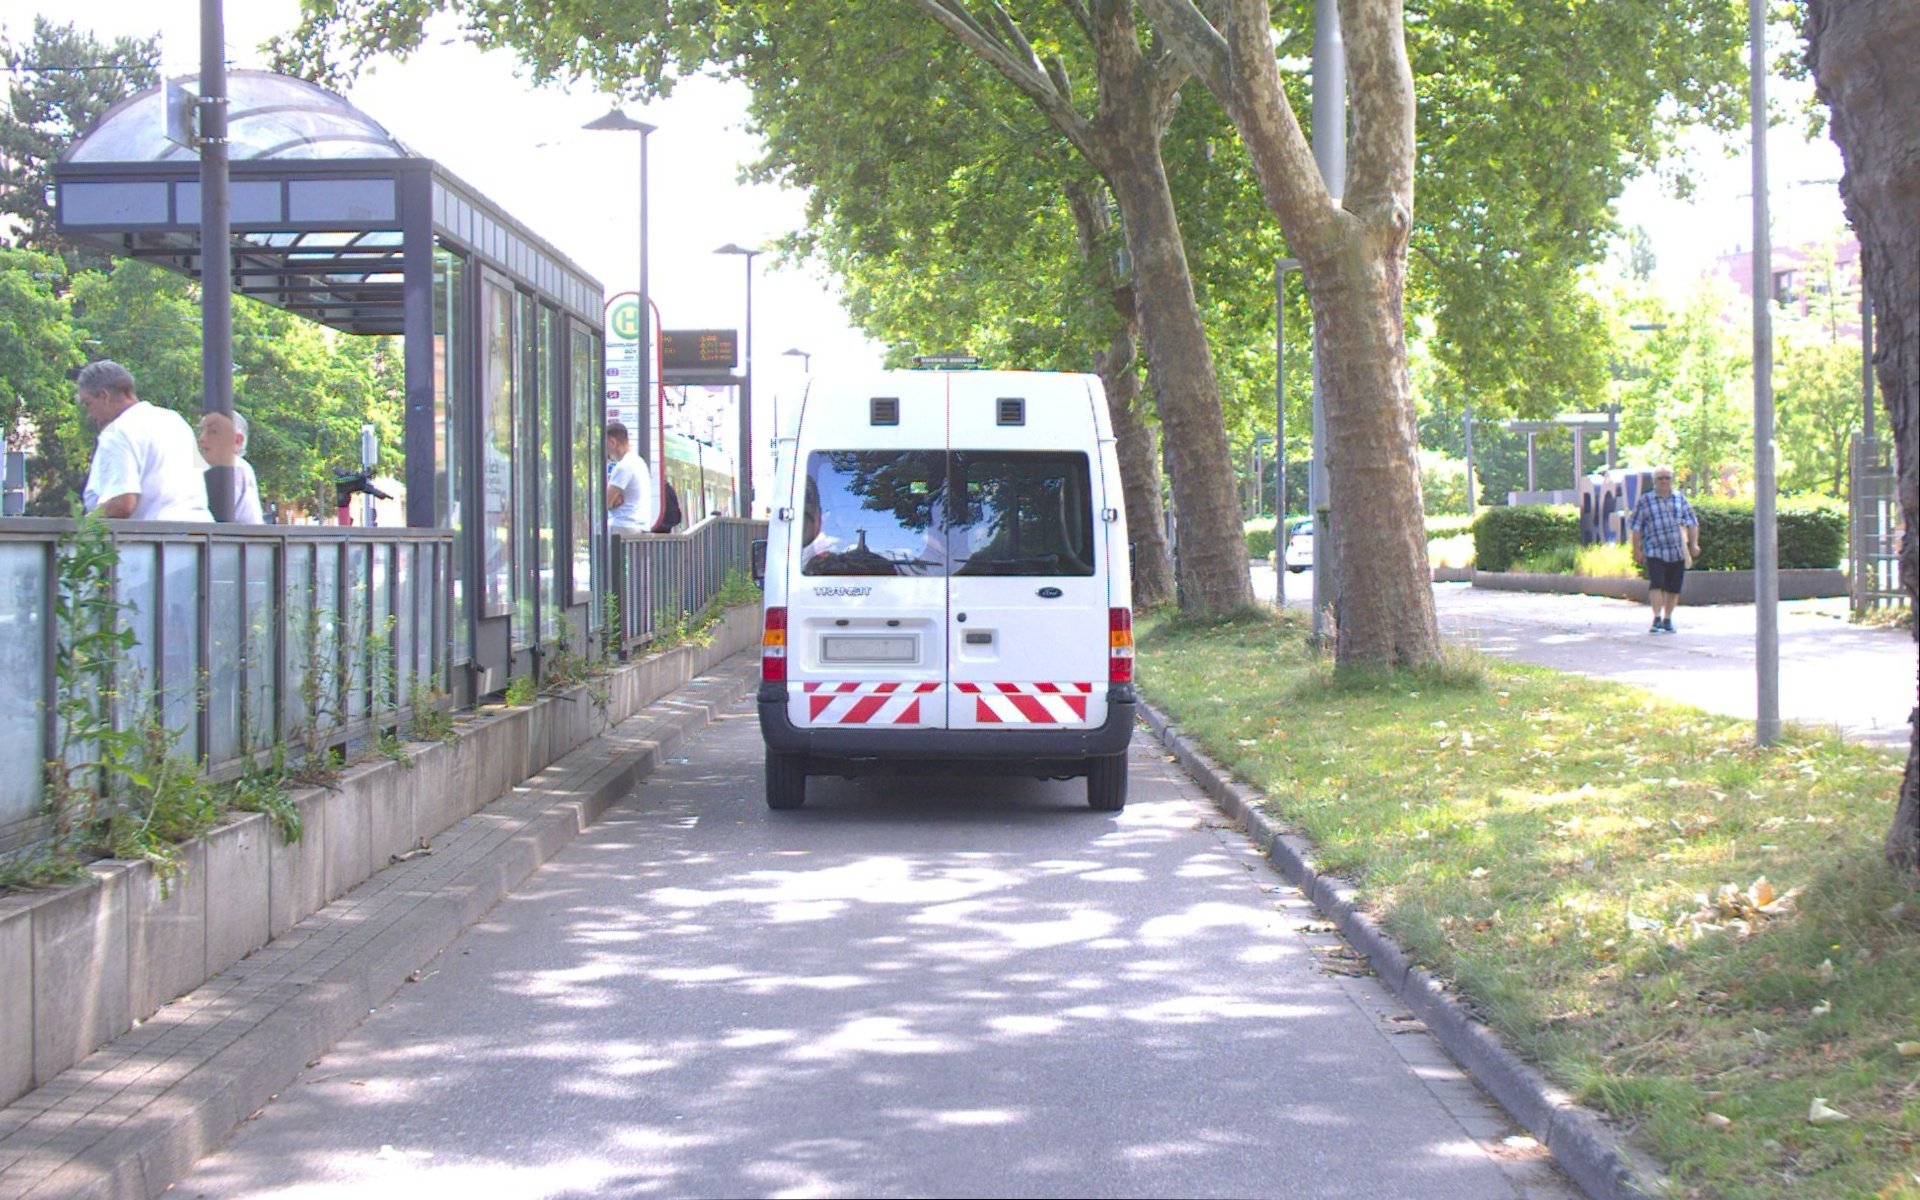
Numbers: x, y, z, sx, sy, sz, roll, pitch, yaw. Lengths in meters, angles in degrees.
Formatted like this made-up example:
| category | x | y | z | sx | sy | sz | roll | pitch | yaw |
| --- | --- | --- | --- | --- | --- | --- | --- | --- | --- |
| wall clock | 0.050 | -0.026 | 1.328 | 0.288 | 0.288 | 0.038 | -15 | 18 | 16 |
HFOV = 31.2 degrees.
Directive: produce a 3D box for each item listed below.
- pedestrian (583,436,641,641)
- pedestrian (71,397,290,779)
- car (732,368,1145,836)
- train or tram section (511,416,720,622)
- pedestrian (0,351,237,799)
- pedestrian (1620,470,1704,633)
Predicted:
| category | x | y | z | sx | sy | sz | roll | pitch | yaw |
| --- | --- | --- | --- | --- | --- | --- | --- | --- | --- |
| pedestrian | -2.723 | -0.480 | 26.920 | 0.385 | 1.586 | 0.439 | -1 | 1 | -1 |
| pedestrian | -2.929 | -0.050 | 12.965 | 0.676 | 1.398 | 0.596 | -1 | 1 | -1 |
| car | -0.175 | -0.061 | 19.553 | 2.047 | 2.325 | 4.715 | 0 | 2 | -2 |
| train or tram section | -6.431 | -1.529 | 66.162 | 2.723 | 3.572 | 13.017 | 0 | 1 | 0 |
| pedestrian | -2.920 | -0.091 | 11.942 | 0.676 | 1.510 | 0.596 | -1 | 1 | -1 |
| pedestrian | 7.062 | -0.491 | 34.603 | 0.693 | 1.620 | 0.637 | -1 | 1 | -1 |
